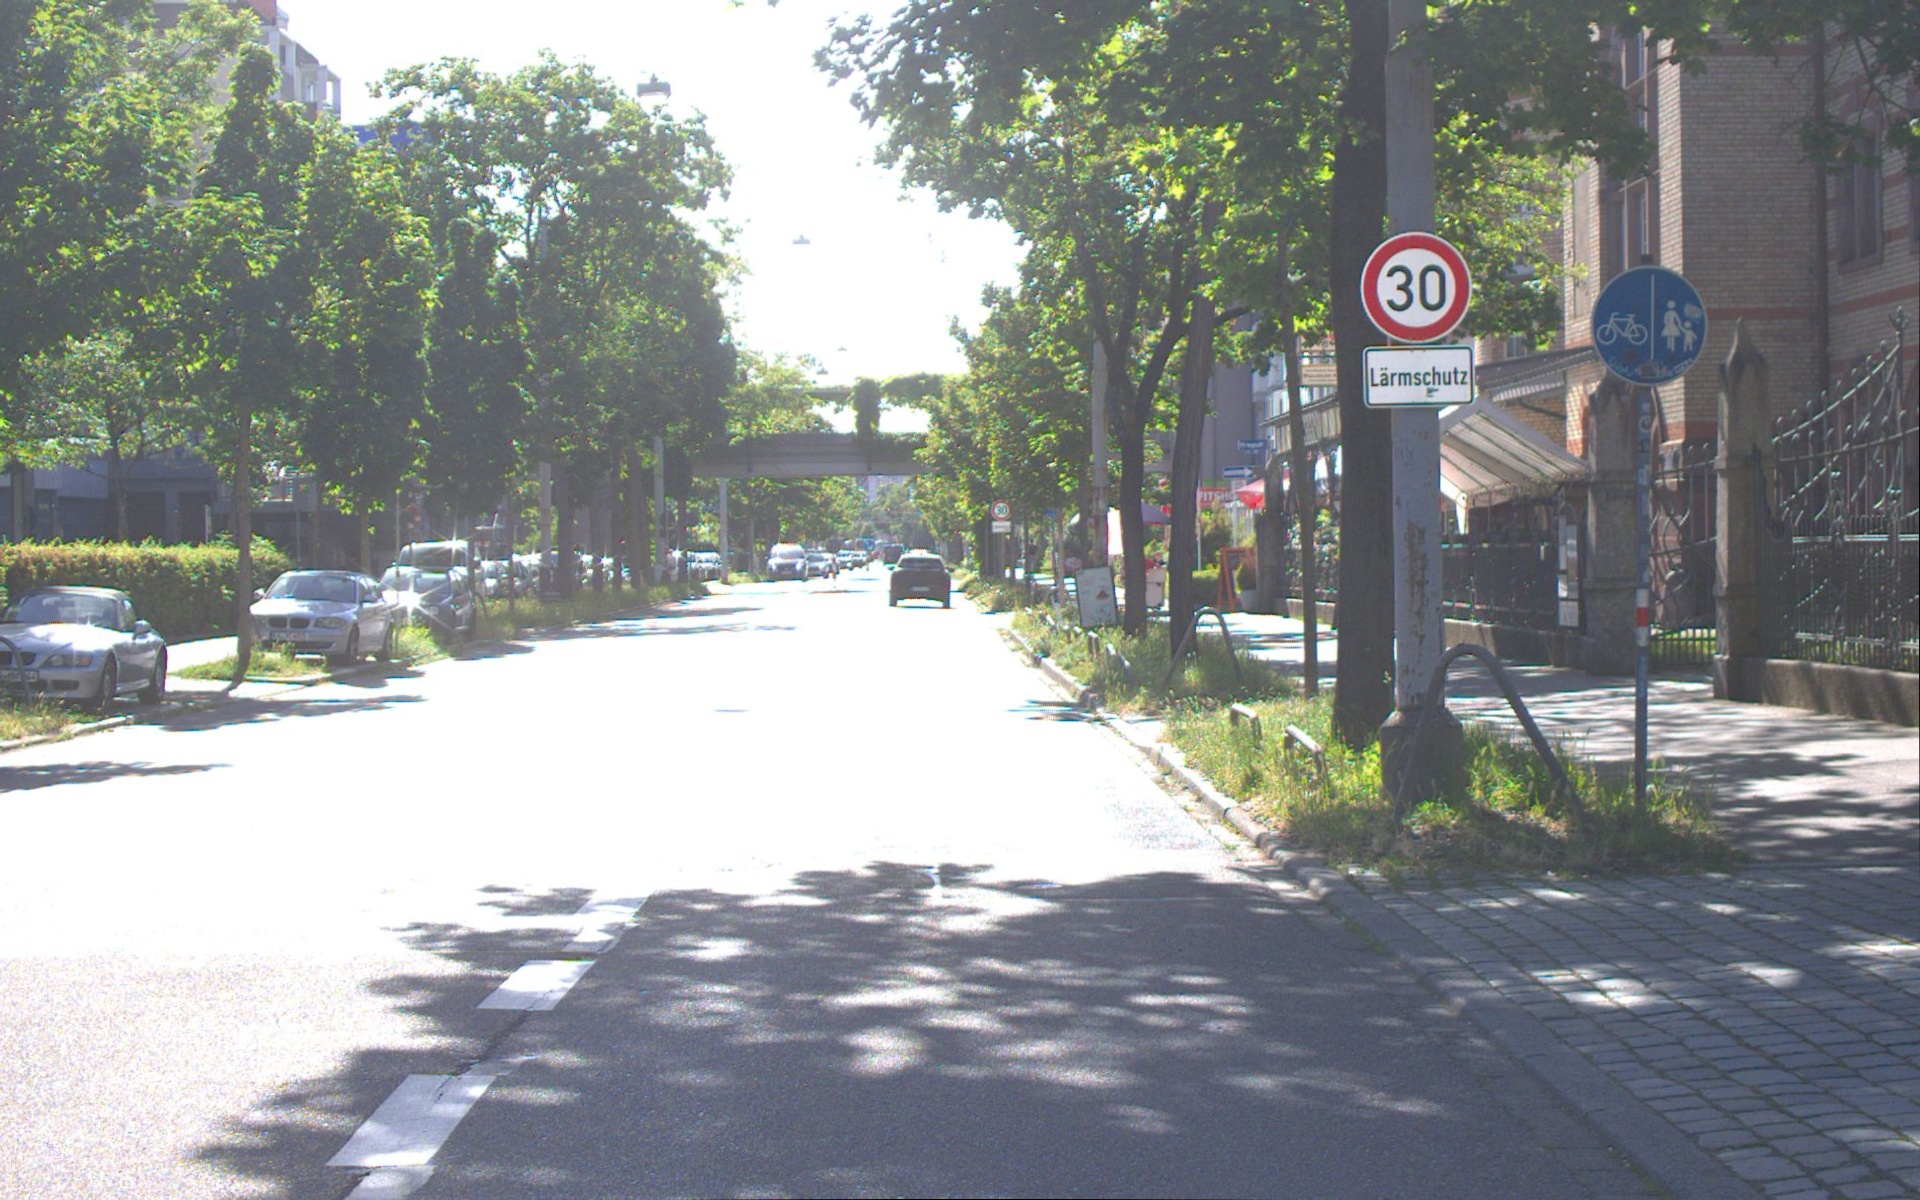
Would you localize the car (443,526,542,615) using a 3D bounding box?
[{"bbox_3d":[-11.674,-0.756,86.180,1.981,2.069,5.197,-3,1,-3],"label":"car"}]

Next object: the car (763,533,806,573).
[{"bbox_3d":[-8.307,-2.236,162.872,1.855,1.819,4.610,-3,1,-2],"label":"car"}]

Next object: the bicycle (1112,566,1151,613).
[{"bbox_3d":[3.791,-0.226,76.272,0.685,1.024,2.096,-1,0,-2],"label":"bicycle"}]

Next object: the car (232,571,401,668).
[{"bbox_3d":[-9.798,0.262,52.605,1.688,1.378,4.191,0,1,2],"label":"car"}]

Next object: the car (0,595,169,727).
[{"bbox_3d":[-9.657,0.605,36.380,1.678,1.251,4.015,0,1,0],"label":"car"}]

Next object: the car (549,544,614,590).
[{"bbox_3d":[-13.268,-1.172,120.634,1.855,1.563,3.872,0,1,0],"label":"car"}]

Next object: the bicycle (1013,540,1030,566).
[{"bbox_3d":[2.548,-1.938,142.246,0.589,1.024,1.860,-1,0,-2],"label":"bicycle"}]

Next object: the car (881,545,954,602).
[{"bbox_3d":[-1.259,-0.788,100.025,1.984,1.595,4.141,0,1,-2],"label":"car"}]

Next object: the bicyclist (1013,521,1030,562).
[{"bbox_3d":[2.553,-2.418,142.176,0.667,1.689,0.889,0,0,-1],"label":"bicyclist"}]

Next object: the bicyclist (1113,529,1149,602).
[{"bbox_3d":[3.791,-0.757,76.268,0.700,1.594,0.955,-1,0,-2],"label":"bicyclist"}]

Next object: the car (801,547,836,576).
[{"bbox_3d":[-8.070,-2.201,196.769,1.855,1.563,4.716,-2,1,-2],"label":"car"}]

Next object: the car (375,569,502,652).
[{"bbox_3d":[-9.689,0.165,64.093,1.712,1.453,4.072,0,1,1],"label":"car"}]
